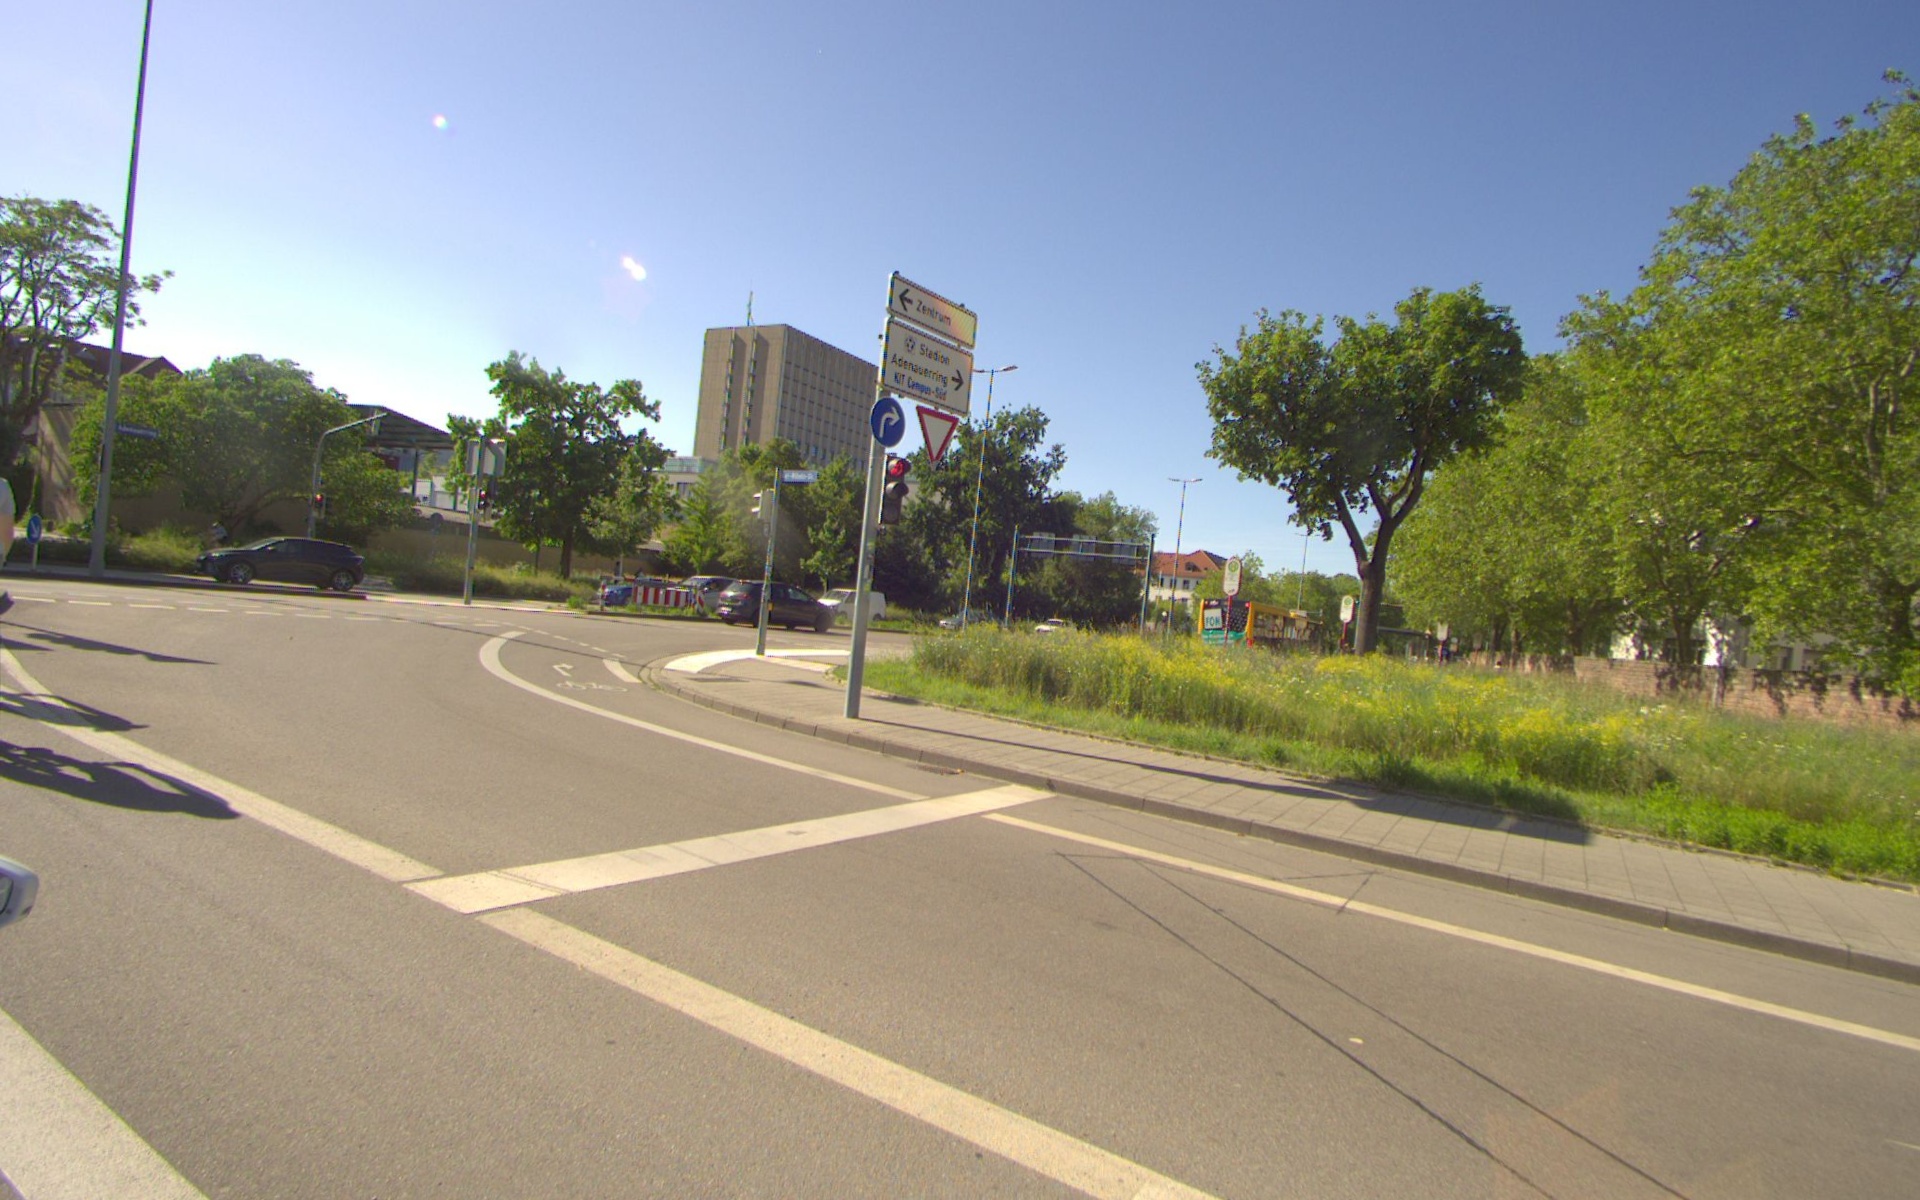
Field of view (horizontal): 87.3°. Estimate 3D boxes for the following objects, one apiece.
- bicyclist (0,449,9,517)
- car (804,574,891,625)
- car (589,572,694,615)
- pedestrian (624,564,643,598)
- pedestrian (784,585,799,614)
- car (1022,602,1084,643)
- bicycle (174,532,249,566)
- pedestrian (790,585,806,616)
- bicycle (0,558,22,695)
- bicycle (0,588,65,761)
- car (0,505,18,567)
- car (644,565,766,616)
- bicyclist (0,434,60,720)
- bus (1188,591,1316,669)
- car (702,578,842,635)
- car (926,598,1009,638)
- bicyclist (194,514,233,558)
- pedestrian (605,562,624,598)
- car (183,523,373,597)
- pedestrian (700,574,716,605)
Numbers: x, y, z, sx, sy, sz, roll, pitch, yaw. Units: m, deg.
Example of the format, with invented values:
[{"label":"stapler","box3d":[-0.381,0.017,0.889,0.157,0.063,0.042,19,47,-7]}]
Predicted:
[{"label":"bicyclist","box3d":[-8.132,-0.375,7.781,1.048,1.759,0.647,7,-1,26]},{"label":"car","box3d":[-6.215,0.008,56.119,1.968,2.131,4.886,6,-2,34]},{"label":"car","box3d":[-13.978,-0.254,44.330,1.715,1.453,4.167,7,0,34]},{"label":"pedestrian","box3d":[-17.149,-0.982,52.845,0.519,1.716,0.561,7,1,35]},{"label":"pedestrian","box3d":[-10.450,-0.049,62.516,0.519,1.716,0.561,7,1,35]},{"label":"car","box3d":[6.476,1.573,69.343,1.969,2.186,4.783,6,-2,35]},{"label":"bicycle","box3d":[-27.301,-1.863,36.719,0.590,0.976,2.073,7,0,40]},{"label":"pedestrian","box3d":[-9.959,0.029,61.964,0.519,1.800,0.561,7,1,35]},{"label":"bicycle","box3d":[-8.198,0.087,7.775,1.935,1.014,0.661,6,-1,26]},{"label":"bicycle","box3d":[-6.290,0.356,6.091,1.946,0.906,0.741,6,-2,33]},{"label":"car","box3d":[-28.056,-1.988,26.282,1.818,1.652,4.816,6,-1,41]},{"label":"car","box3d":[-9.415,-0.321,37.429,1.840,1.426,4.046,6,0,38]},{"label":"bicyclist","box3d":[-6.218,-0.193,6.091,1.000,1.688,0.752,6,-1,33]},{"label":"bus","box3d":[14.268,1.571,48.366,2.752,2.662,10.094,6,-2,34]},{"label":"car","box3d":[-5.935,0.237,32.107,1.819,1.405,4.052,3,-3,41]},{"label":"car","box3d":[0.446,0.956,52.034,1.967,1.604,4.738,6,0,32]},{"label":"bicyclist","box3d":[-27.229,-2.327,36.710,0.590,1.447,0.935,7,1,40]},{"label":"pedestrian","box3d":[-17.532,-1.009,51.036,0.519,1.716,0.561,7,1,35]},{"label":"car","box3d":[-20.592,-1.182,30.505,1.818,1.652,4.366,6,-1,41]},{"label":"pedestrian","box3d":[-14.356,-0.600,57.269,0.519,1.716,0.561,7,1,35]}]
